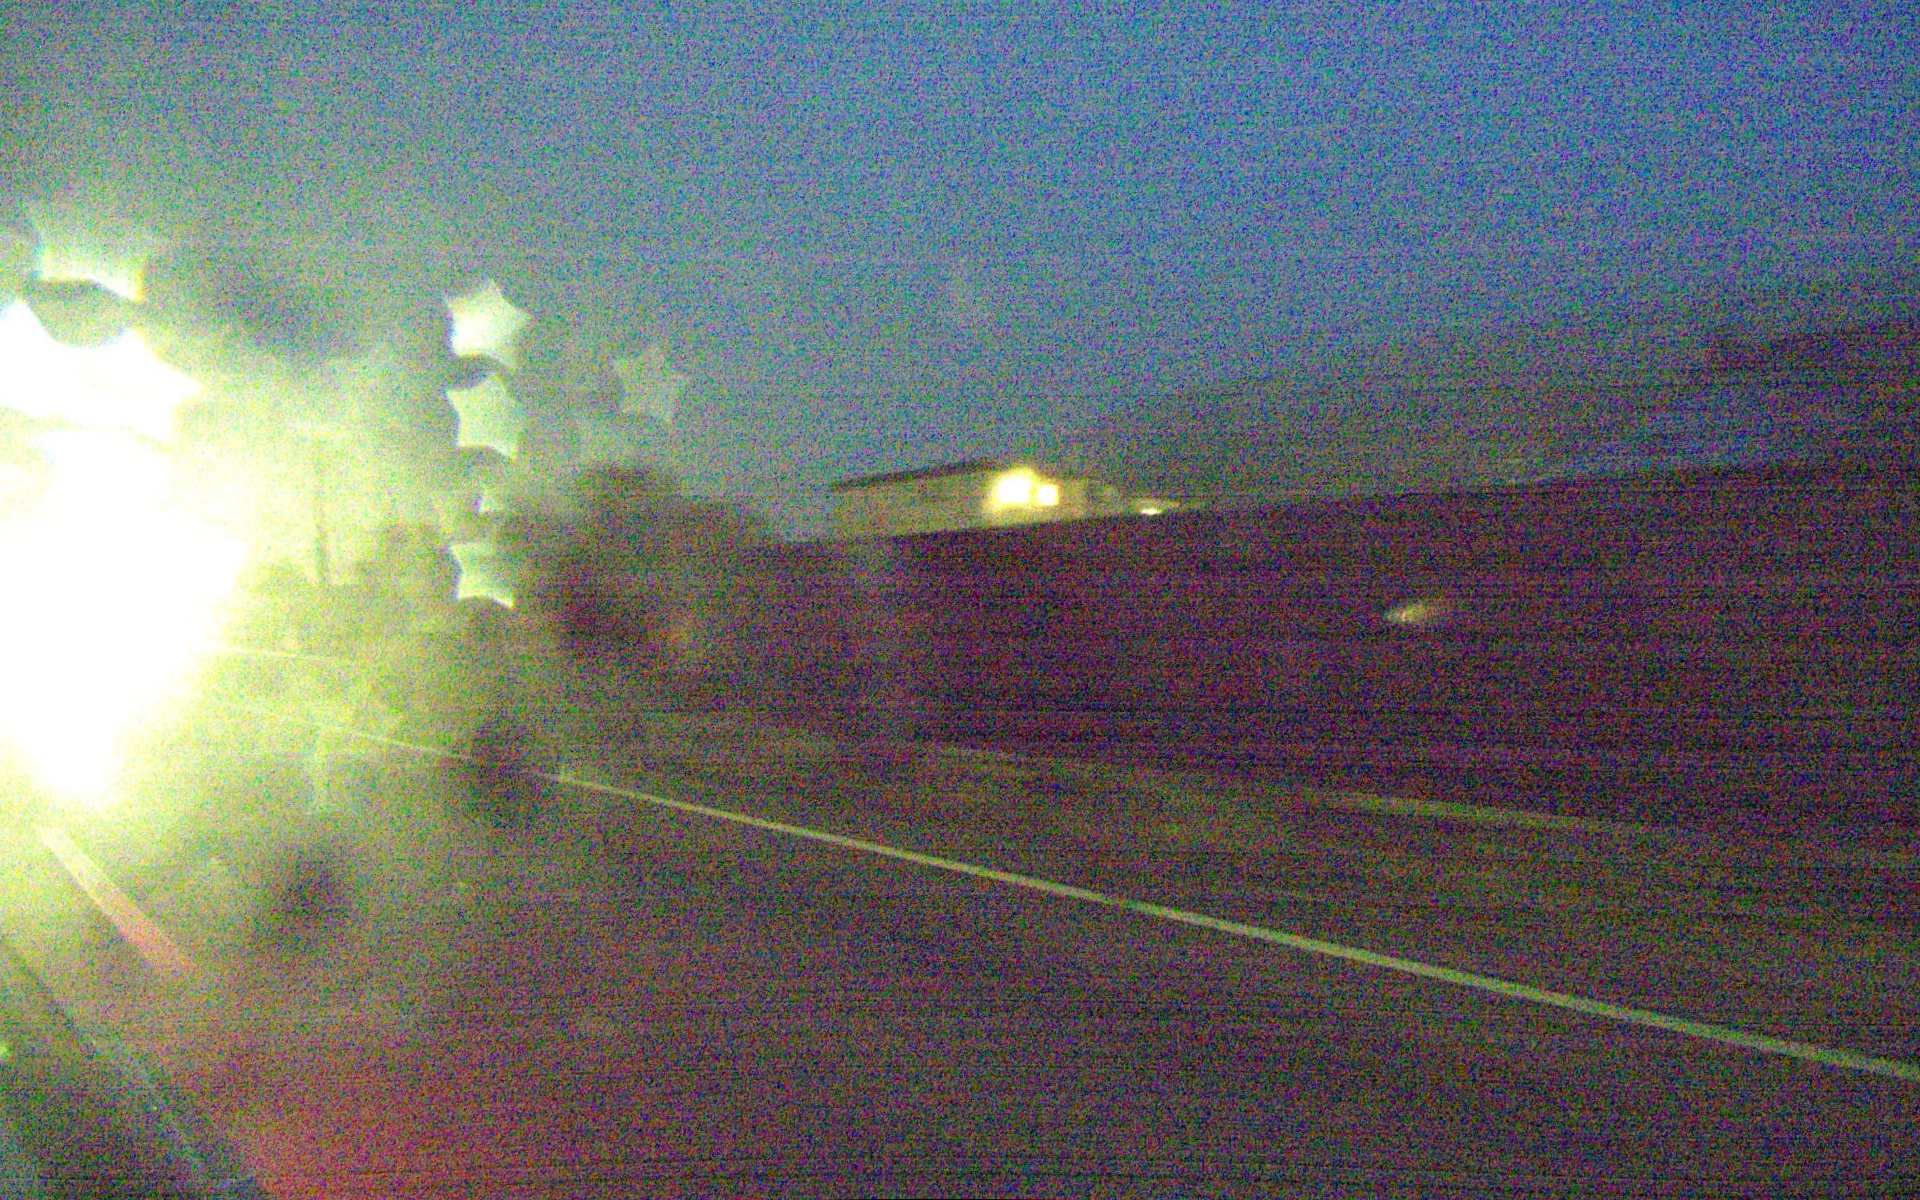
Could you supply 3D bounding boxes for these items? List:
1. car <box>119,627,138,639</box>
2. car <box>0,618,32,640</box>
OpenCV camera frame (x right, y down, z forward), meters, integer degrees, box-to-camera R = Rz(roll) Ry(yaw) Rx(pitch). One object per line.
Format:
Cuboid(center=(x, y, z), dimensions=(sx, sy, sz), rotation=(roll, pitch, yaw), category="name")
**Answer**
Cuboid(center=(-116.355, 4.614, 141.687), dimensions=(1.896, 1.658, 4.034), rotation=(0, -1, -37), category="car")
Cuboid(center=(-71.802, 2.234, 77.019), dimensions=(1.721, 1.646, 3.740), rotation=(0, -2, -42), category="car")
